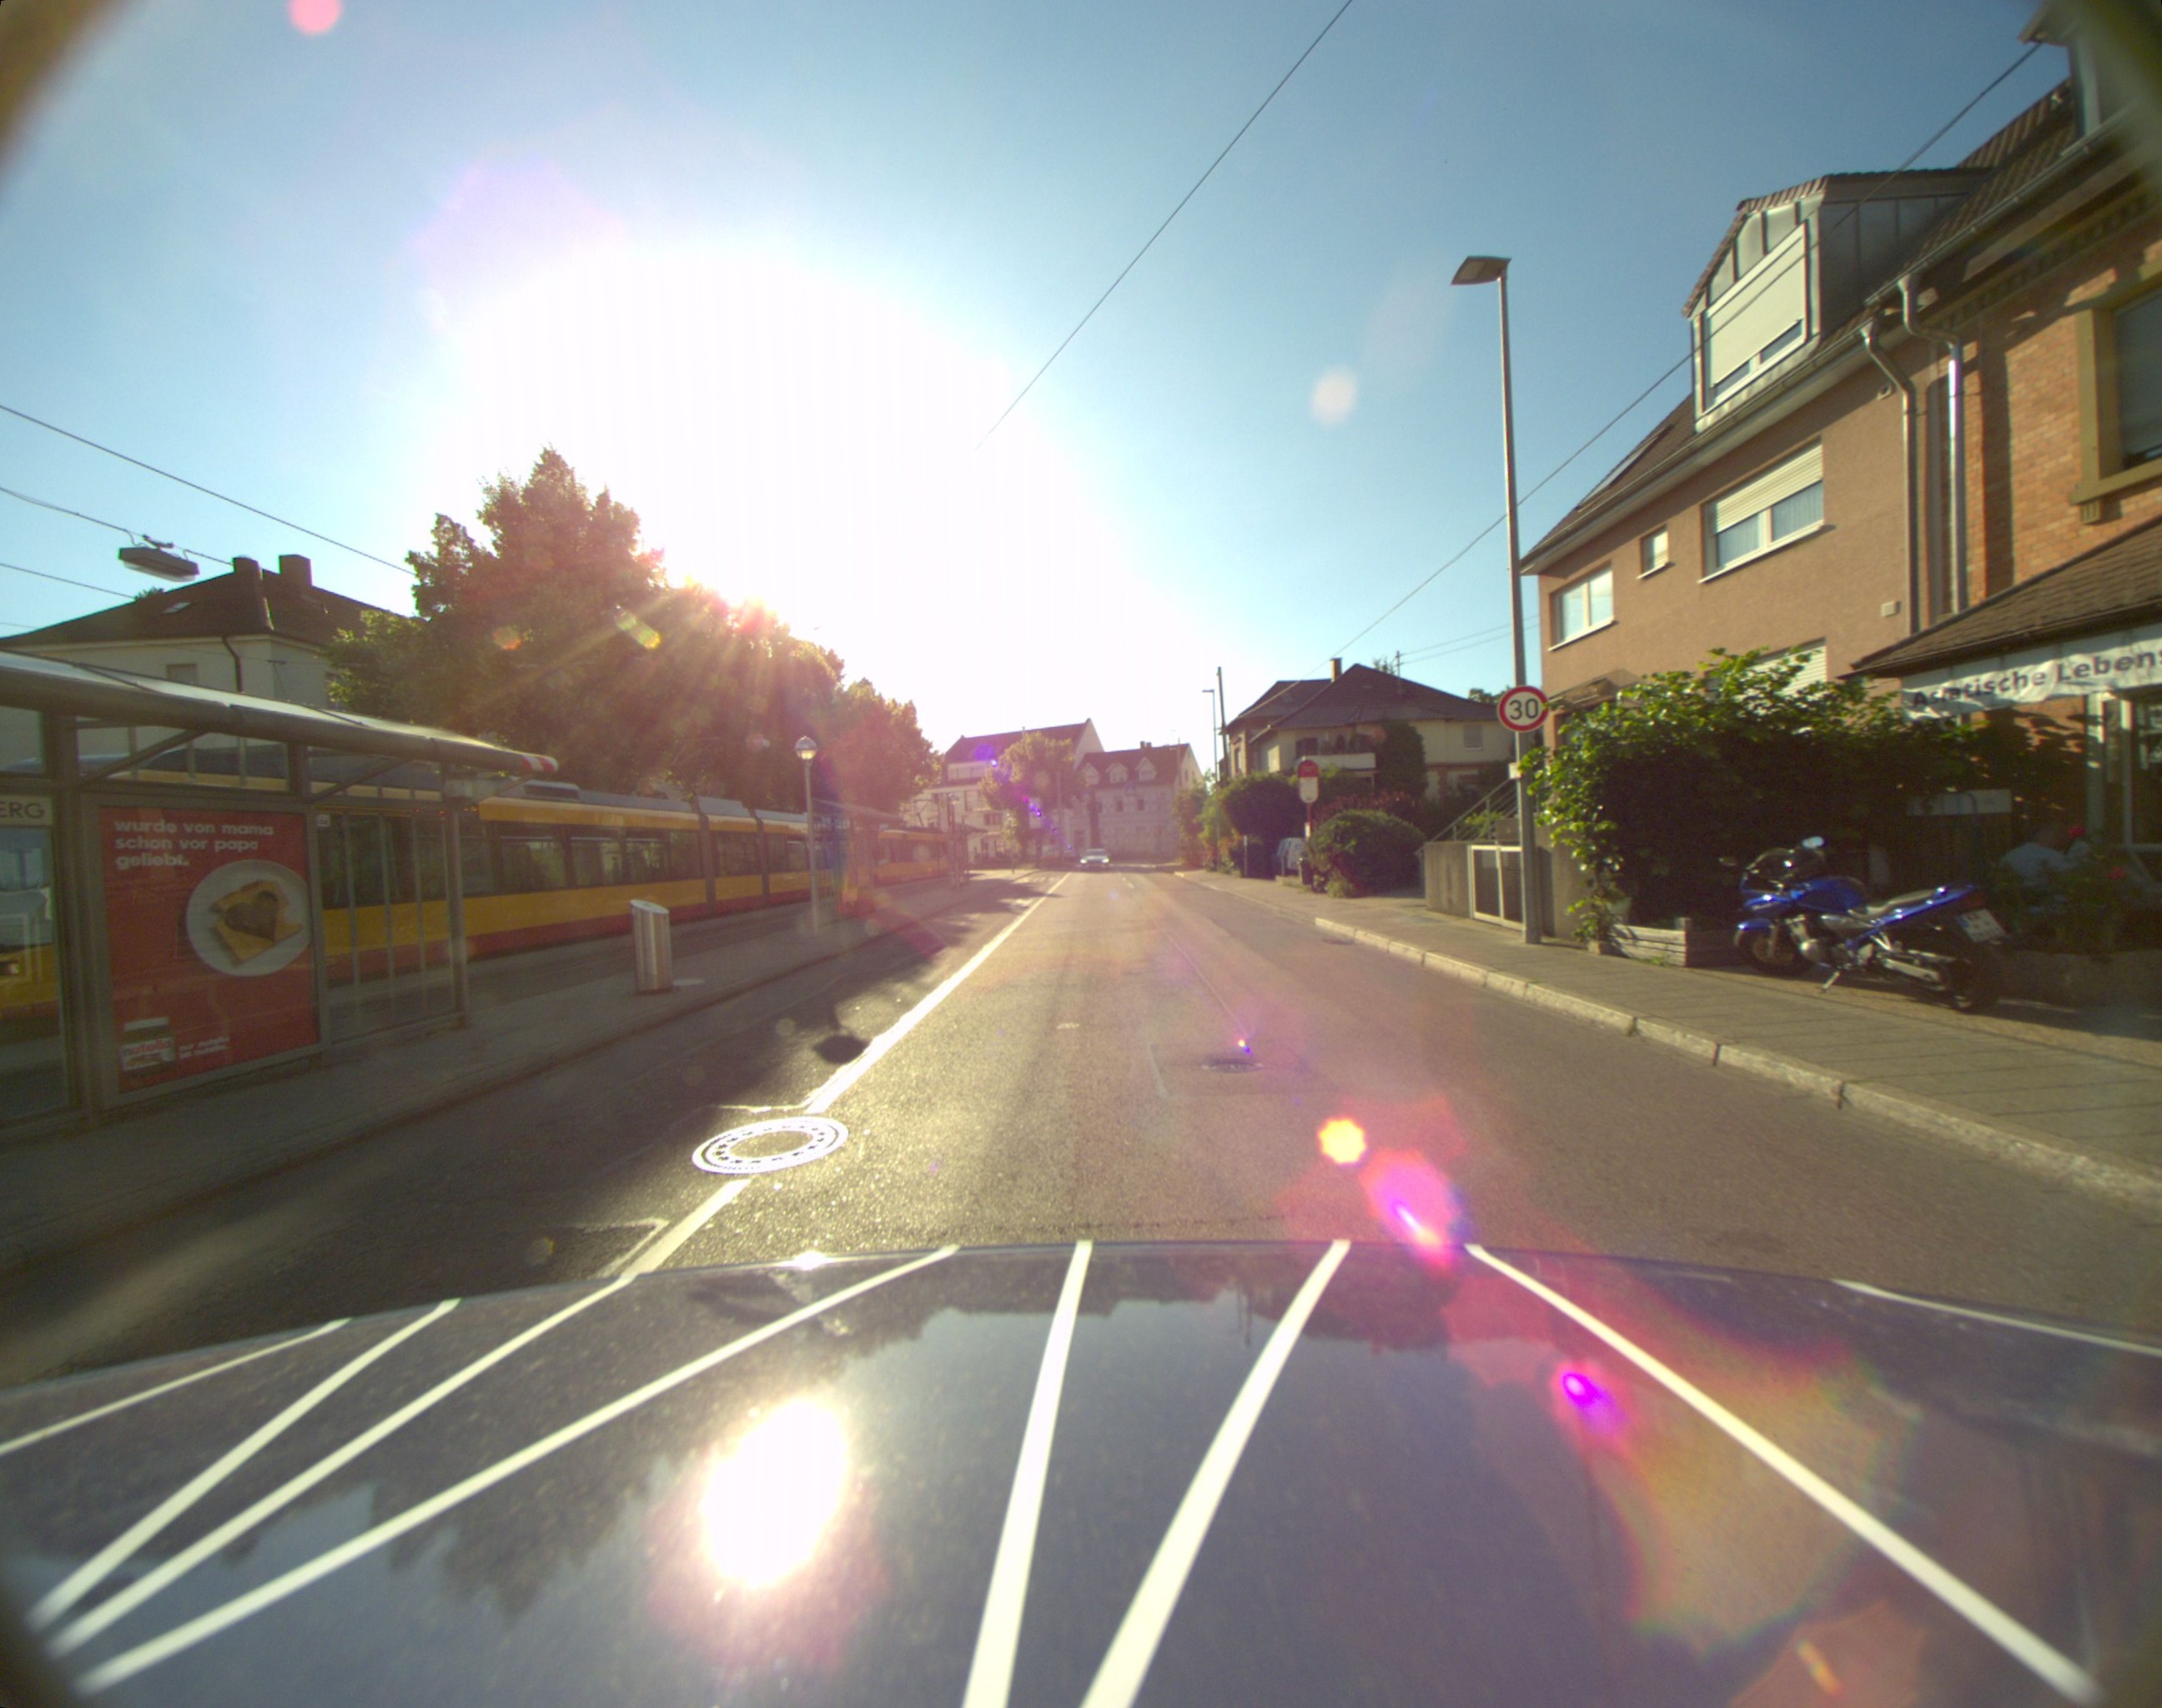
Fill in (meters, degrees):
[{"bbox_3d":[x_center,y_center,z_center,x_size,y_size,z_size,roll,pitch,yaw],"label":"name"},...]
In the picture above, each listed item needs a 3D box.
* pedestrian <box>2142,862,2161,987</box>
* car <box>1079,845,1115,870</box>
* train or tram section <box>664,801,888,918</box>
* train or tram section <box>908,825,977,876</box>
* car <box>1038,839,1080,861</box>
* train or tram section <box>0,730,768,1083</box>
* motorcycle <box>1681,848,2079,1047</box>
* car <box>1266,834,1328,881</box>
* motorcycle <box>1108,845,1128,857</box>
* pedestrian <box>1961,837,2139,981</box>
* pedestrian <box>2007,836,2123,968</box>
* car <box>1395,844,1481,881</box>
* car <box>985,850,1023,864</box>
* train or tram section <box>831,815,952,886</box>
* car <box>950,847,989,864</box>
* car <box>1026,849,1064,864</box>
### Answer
[{"bbox_3d":[9.367,0.586,6.367,0.525,1.041,0.383,-3,1,-15],"label":"pedestrian"},{"bbox_3d":[1.121,0.202,50.119,1.998,1.454,4.451,-2,0,5],"label":"car"},{"bbox_3d":[-11.078,-0.001,30.046,2.964,3.514,13.461,-2,1,1],"label":"train or tram section"},{"bbox_3d":[-10.578,-0.282,59.611,2.965,3.402,13.462,-2,0,-1],"label":"train or tram section"},{"bbox_3d":[-2.271,-0.405,77.157,1.875,1.922,4.781,-4,0,-35],"label":"car"},{"bbox_3d":[-11.456,0.368,15.597,2.964,3.514,15.966,-2,1,1],"label":"train or tram section"},{"bbox_3d":[6.241,0.621,6.205,0.841,1.275,2.231,-3,1,-1],"label":"motorcycle"},{"bbox_3d":[9.379,0.111,33.274,1.704,1.804,3.671,4,1,3],"label":"car"},{"bbox_3d":[4.102,-0.365,84.403,2.104,1.220,0.625,-3,1,28],"label":"motorcycle"},{"bbox_3d":[8.868,0.484,6.983,0.746,1.236,0.667,-2,1,5],"label":"pedestrian"},{"bbox_3d":[9.720,0.460,7.519,0.524,1.251,0.465,-2,1,3],"label":"pedestrian"},{"bbox_3d":[15.622,0.335,33.479,1.846,1.509,3.791,1,1,-3],"label":"car"},{"bbox_3d":[-9.201,0.373,90.940,4.115,1.339,1.938,-3,1,29],"label":"car"},{"bbox_3d":[-10.601,-0.206,45.066,2.965,3.402,15.938,-2,0,0],"label":"train or tram section"},{"bbox_3d":[-13.737,0.199,93.472,4.263,1.945,2.003,-2,1,21],"label":"car"},{"bbox_3d":[-4.180,0.286,88.160,4.196,1.454,1.610,-4,0,33],"label":"car"}]
